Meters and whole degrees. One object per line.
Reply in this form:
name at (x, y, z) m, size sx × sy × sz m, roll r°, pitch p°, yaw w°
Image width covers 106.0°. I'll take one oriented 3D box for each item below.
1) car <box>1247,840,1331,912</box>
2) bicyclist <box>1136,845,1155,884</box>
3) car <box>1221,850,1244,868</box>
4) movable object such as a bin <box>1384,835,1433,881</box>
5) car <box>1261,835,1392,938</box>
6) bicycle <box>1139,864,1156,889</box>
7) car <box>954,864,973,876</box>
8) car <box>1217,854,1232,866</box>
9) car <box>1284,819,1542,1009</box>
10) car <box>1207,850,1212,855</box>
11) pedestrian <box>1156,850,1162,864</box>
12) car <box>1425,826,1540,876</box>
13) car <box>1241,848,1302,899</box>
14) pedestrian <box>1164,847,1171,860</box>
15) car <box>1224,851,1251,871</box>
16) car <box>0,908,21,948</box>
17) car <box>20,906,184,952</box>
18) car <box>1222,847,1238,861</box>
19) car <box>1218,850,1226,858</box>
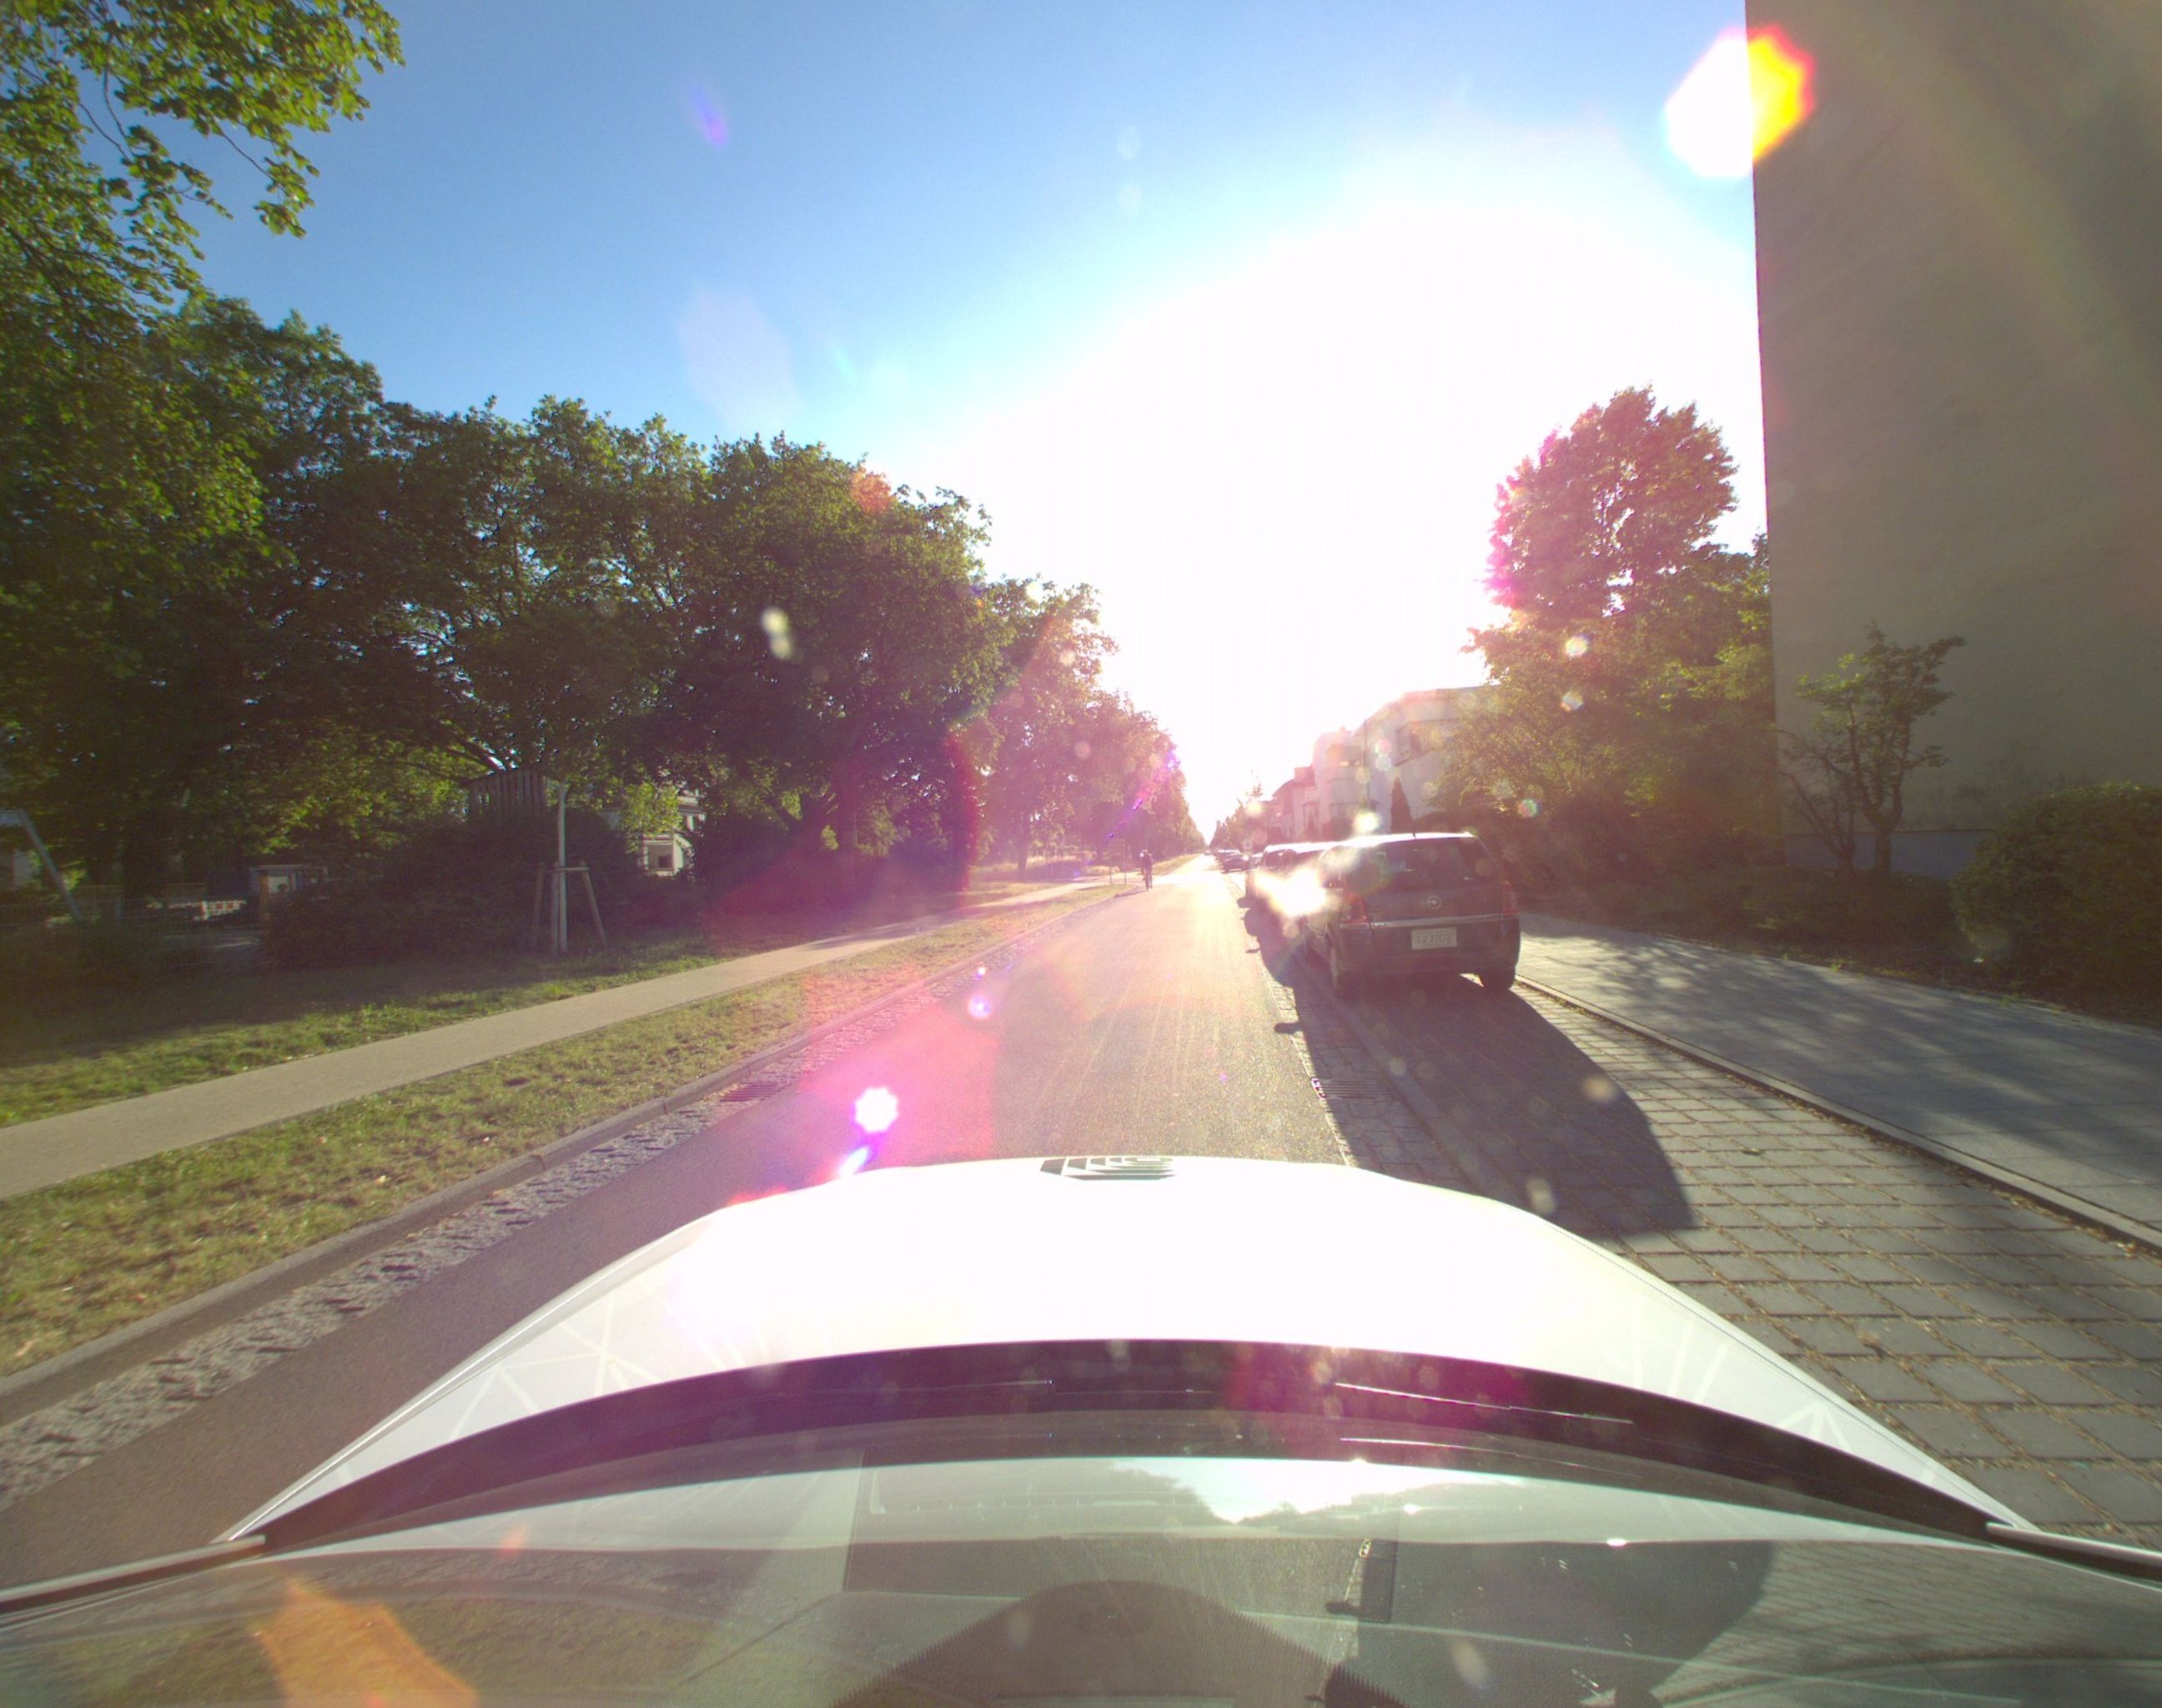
car at (5.175, 0.495, 20.715) m, size 1.668 × 1.555 × 4.142 m, roll -4°, pitch 0°, yaw 10°
bicyclist at (2.873, 0.461, 36.213) m, size 0.677 × 1.673 × 1.175 m, roll -4°, pitch -1°, yaw 8°
car at (13.706, 0.443, 73.723) m, size 1.734 × 1.474 × 3.931 m, roll -6°, pitch -1°, yaw 8°
movable object such as a bin at (10.635, 0.121, 26.492) m, size 1.229 × 1.432 × 1.126 m, roll -2°, pitch 0°, yaw 11°
car at (4.411, 0.526, 15.224) m, size 1.669 × 1.555 × 4.154 m, roll -4°, pitch 0°, yaw 9°
bicycle at (2.954, 0.984, 36.209) m, size 0.553 × 1.032 × 1.919 m, roll -3°, pitch -1°, yaw 9°
car at (-18.108, 2.458, 125.575) m, size 1.683 × 1.597 × 4.231 m, roll -2°, pitch 0°, yaw 8°
car at (19.415, 0.860, 110.014) m, size 1.727 × 1.449 × 4.206 m, roll -4°, pitch -1°, yaw 8°
car at (3.530, 0.545, 9.498) m, size 1.701 × 1.610 × 4.178 m, roll -5°, pitch 0°, yaw 8°
car at (38.780, -0.475, 245.823) m, size 1.642 × 1.541 × 3.275 m, roll -2°, pitch 0°, yaw 9°
pedestrian at (10.547, 0.354, 110.491) m, size 0.620 × 1.831 × 0.889 m, roll -2°, pitch 0°, yaw 12°
car at (14.456, -0.098, 29.505) m, size 3.466 × 1.641 × 1.650 m, roll -2°, pitch 0°, yaw 17°
car at (6.015, 0.564, 26.074) m, size 1.554 × 1.390 × 4.386 m, roll -4°, pitch 0°, yaw 9°
pedestrian at (11.715, -0.063, 110.515) m, size 0.778 × 1.614 × 0.955 m, roll -2°, pitch 0°, yaw 12°
car at (12.004, 0.496, 62.633) m, size 1.764 × 1.288 × 4.284 m, roll -5°, pitch 0°, yaw 9°
car at (-38.765, 2.658, 27.214) m, size 1.512 × 1.367 × 3.763 m, roll -2°, pitch 0°, yaw 10°
car at (-37.804, 2.861, 31.592) m, size 1.512 × 1.367 × 3.763 m, roll -2°, pitch 0°, yaw 10°
car at (17.110, 0.004, 93.738) m, size 1.618 × 1.504 × 3.643 m, roll -5°, pitch 0°, yaw 10°
car at (27.840, 0.042, 161.134) m, size 1.489 × 1.567 × 3.276 m, roll -3°, pitch 0°, yaw 10°
